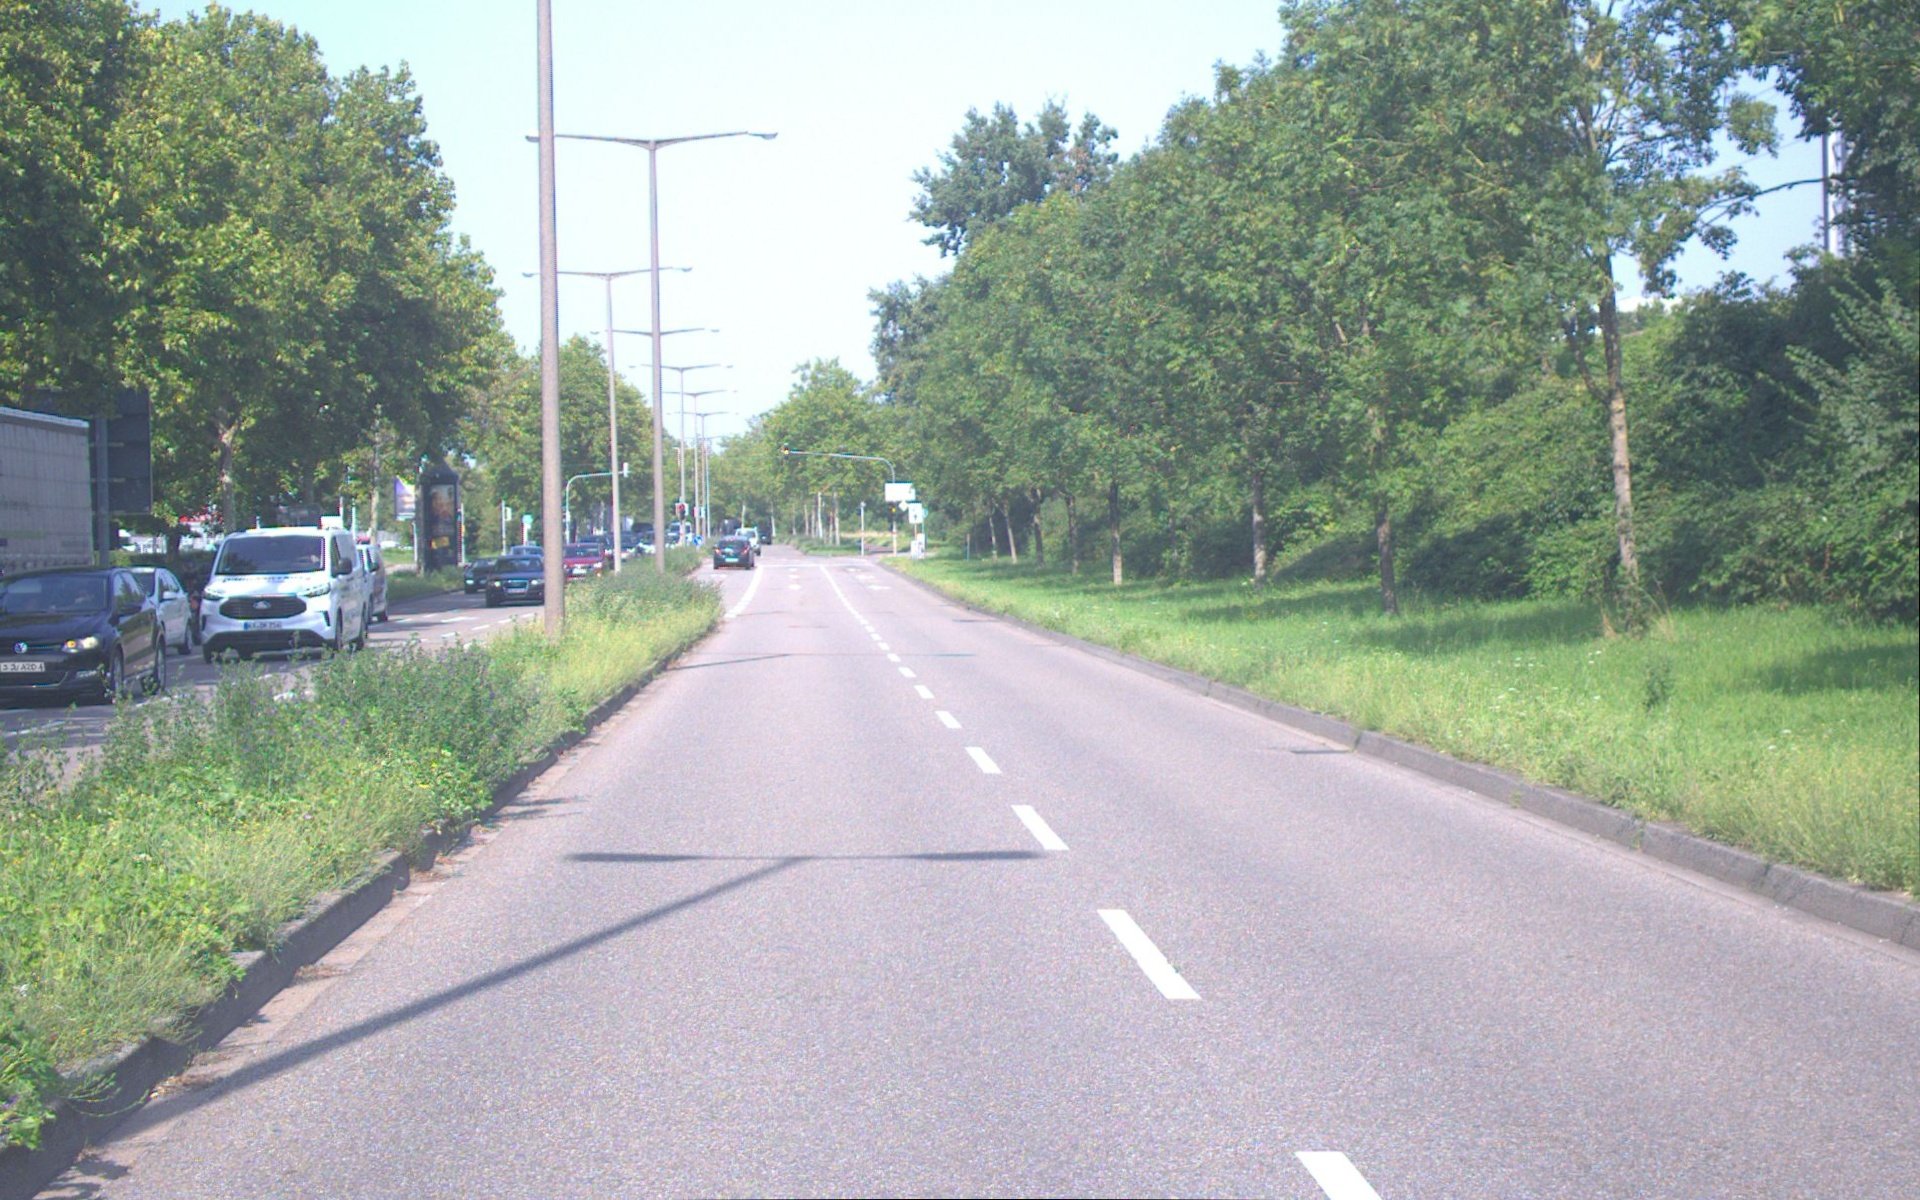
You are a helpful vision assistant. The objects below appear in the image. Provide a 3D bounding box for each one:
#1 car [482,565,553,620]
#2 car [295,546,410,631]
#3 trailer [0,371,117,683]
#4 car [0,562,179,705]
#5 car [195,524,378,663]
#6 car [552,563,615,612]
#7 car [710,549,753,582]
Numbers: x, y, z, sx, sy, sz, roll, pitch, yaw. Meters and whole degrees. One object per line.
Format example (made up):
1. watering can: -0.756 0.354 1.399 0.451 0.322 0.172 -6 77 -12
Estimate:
1. car: -12.905 -0.227 100.398 1.746 1.474 4.587 -3 1 -4
2. car: -14.339 -0.285 81.361 1.984 1.852 4.970 -3 1 -3
3. trailer: -12.986 -0.843 41.646 2.633 3.808 13.813 -2 1 -3
4. car: -9.518 0.331 36.475 1.614 1.394 3.858 -3 1 -1
5. car: -10.136 -0.115 52.086 1.993 1.947 5.037 -2 1 -3
6. car: -13.615 -0.470 124.650 1.954 1.718 4.587 -1 1 -3
7. car: -10.752 -1.632 161.803 1.692 1.481 4.000 -1 1 0
